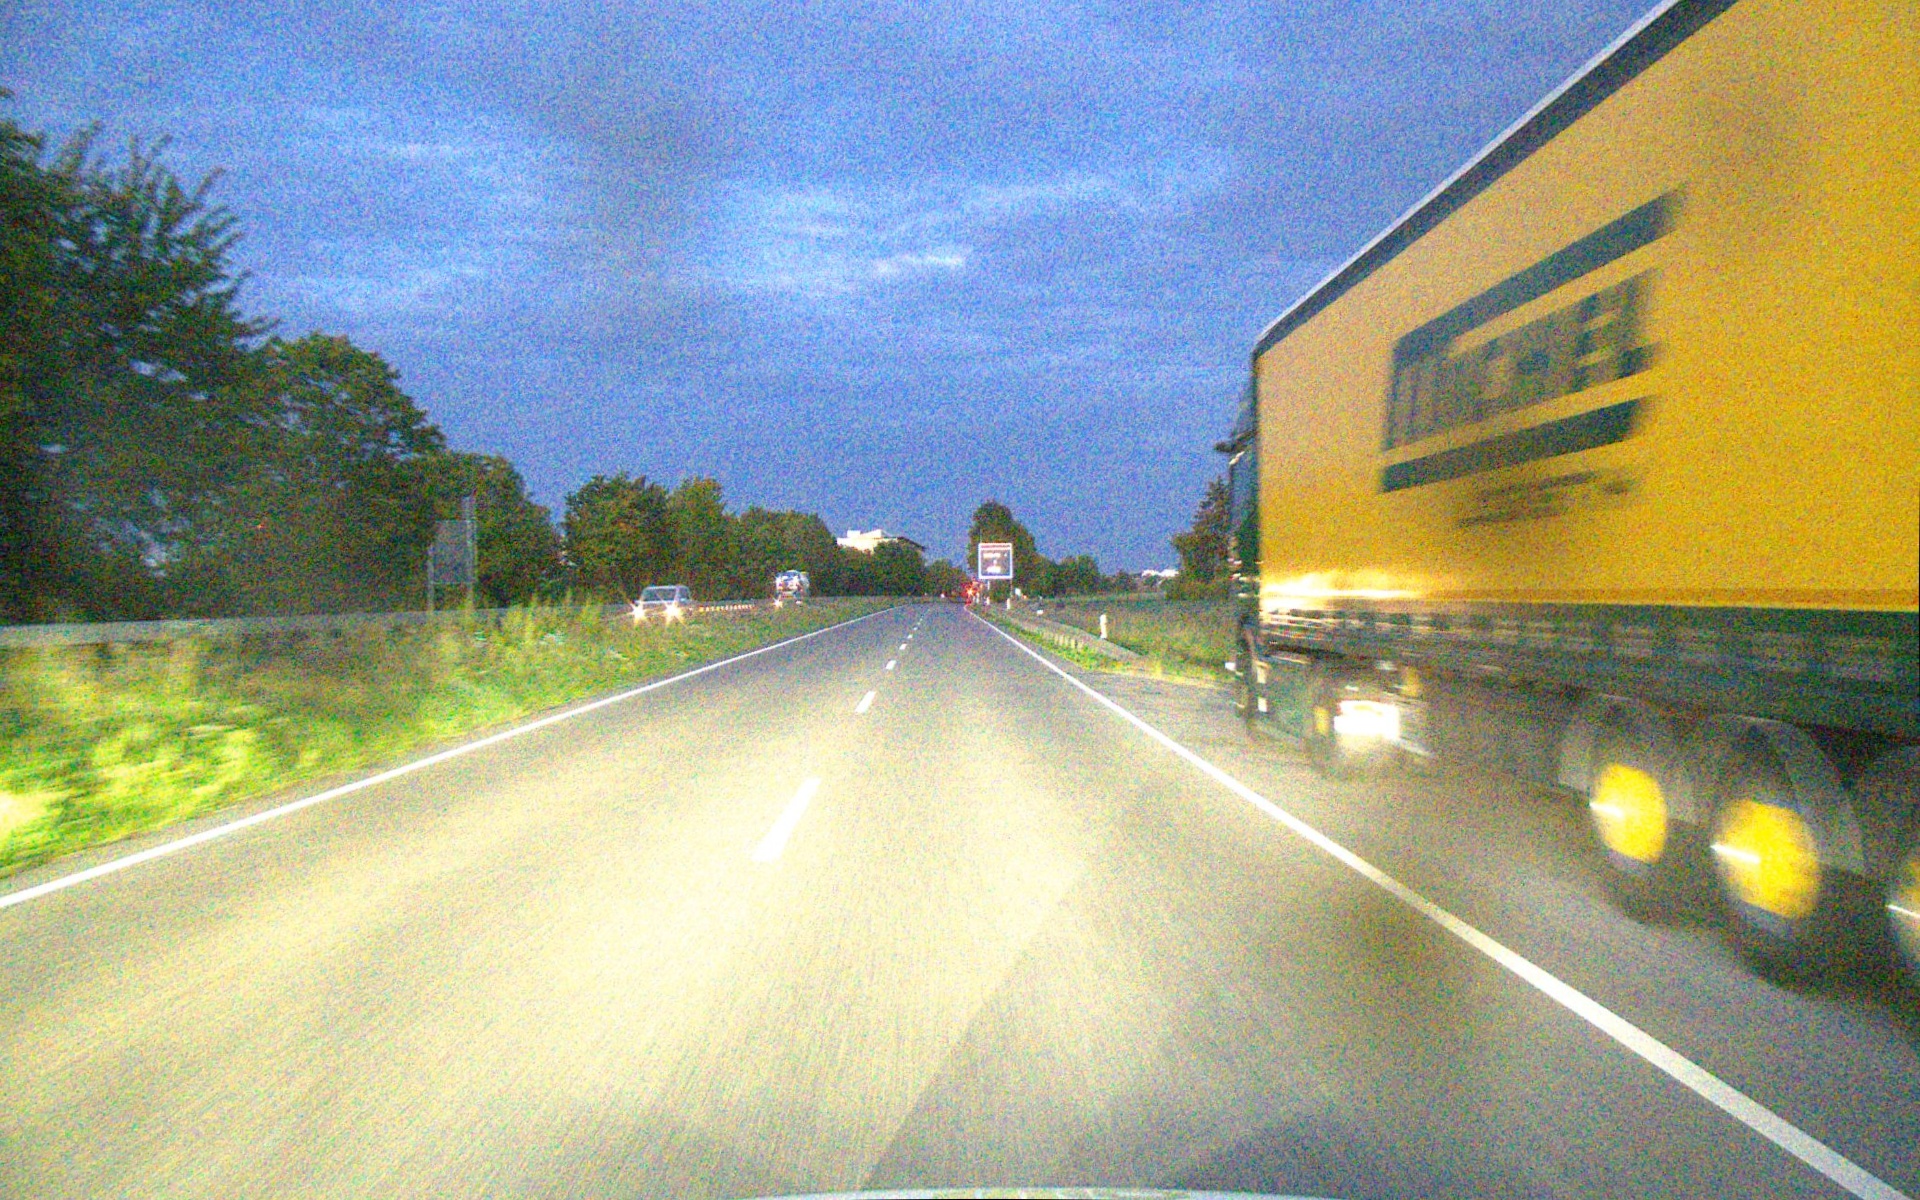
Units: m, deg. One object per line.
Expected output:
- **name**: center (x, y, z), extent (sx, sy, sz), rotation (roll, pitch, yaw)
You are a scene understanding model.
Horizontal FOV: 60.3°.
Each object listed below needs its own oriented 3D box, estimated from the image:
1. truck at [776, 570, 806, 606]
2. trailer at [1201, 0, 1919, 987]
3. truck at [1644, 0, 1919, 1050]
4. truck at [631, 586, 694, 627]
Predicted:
- **truck**: center (-16.683, -1.173, 163.469), extent (2.173, 3.505, 6.714), rotation (1, 0, 0)
- **trailer**: center (4.163, -0.724, 12.565), extent (2.569, 4.175, 12.935), rotation (-1, 0, -1)
- **truck**: center (4.312, -0.627, 4.165), extent (2.527, 4.142, 6.129), rotation (1, 1, -1)
- **truck**: center (-12.880, 0.259, 71.866), extent (1.975, 1.681, 4.772), rotation (1, 0, -2)
